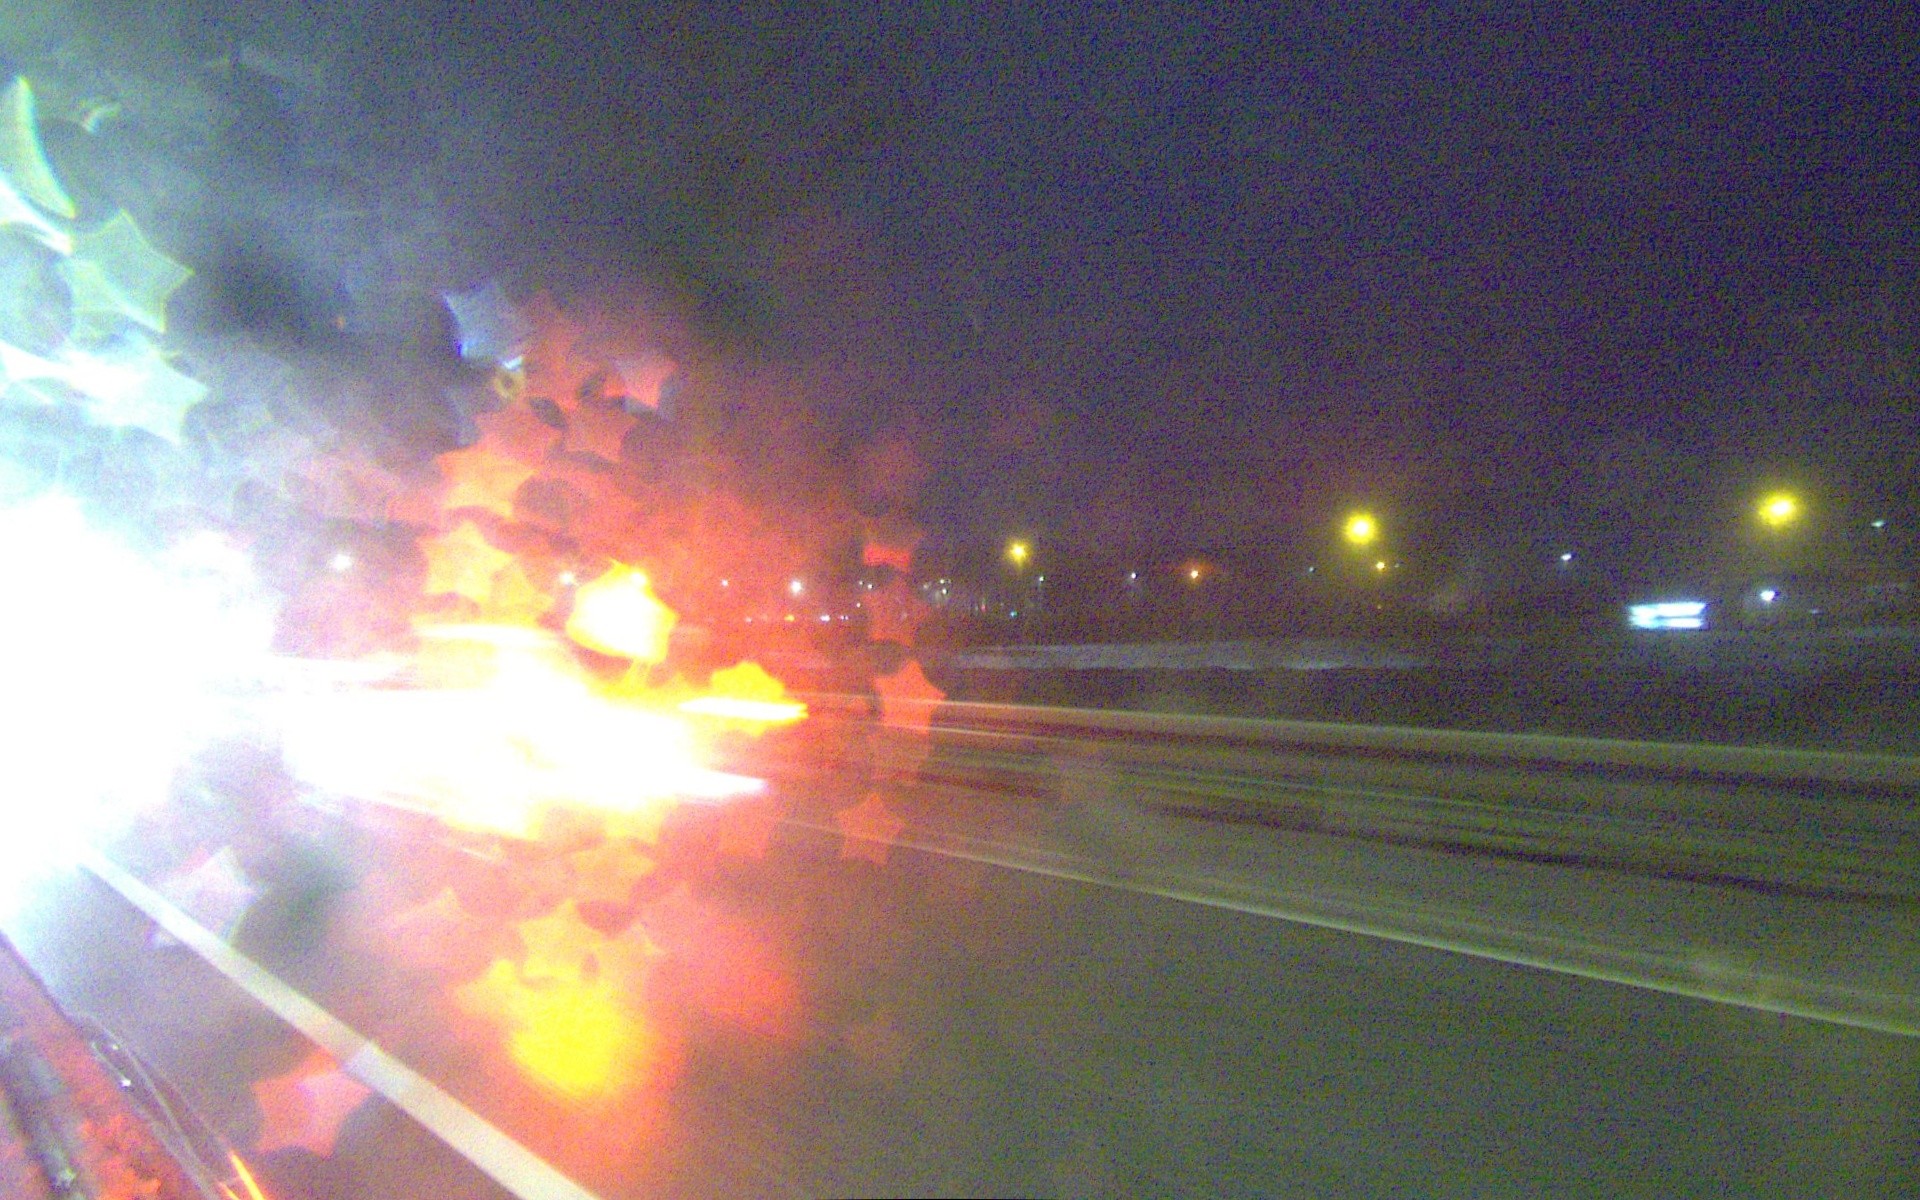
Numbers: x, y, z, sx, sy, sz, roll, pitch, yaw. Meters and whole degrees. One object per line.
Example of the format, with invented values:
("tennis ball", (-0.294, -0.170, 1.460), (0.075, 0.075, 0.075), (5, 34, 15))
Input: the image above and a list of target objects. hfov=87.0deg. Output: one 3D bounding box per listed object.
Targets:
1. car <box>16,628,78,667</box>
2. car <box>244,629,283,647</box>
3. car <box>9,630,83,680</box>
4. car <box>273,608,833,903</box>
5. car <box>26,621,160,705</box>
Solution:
("car", (-47.950, 2.477, 53.232), (1.967, 1.949, 4.009), (0, -2, -36))
("car", (-55.615, 3.042, 80.853), (1.704, 1.415, 3.875), (0, -2, -21))
("car", (-29.078, 1.707, 32.291), (1.644, 1.443, 3.825), (0, -1, -41))
("car", (-3.038, 0.825, 7.094), (4.322, 1.442, 1.743), (-2, 0, 39))
("car", (-17.225, 1.182, 20.054), (4.046, 1.490, 1.600), (-2, -2, 43))
